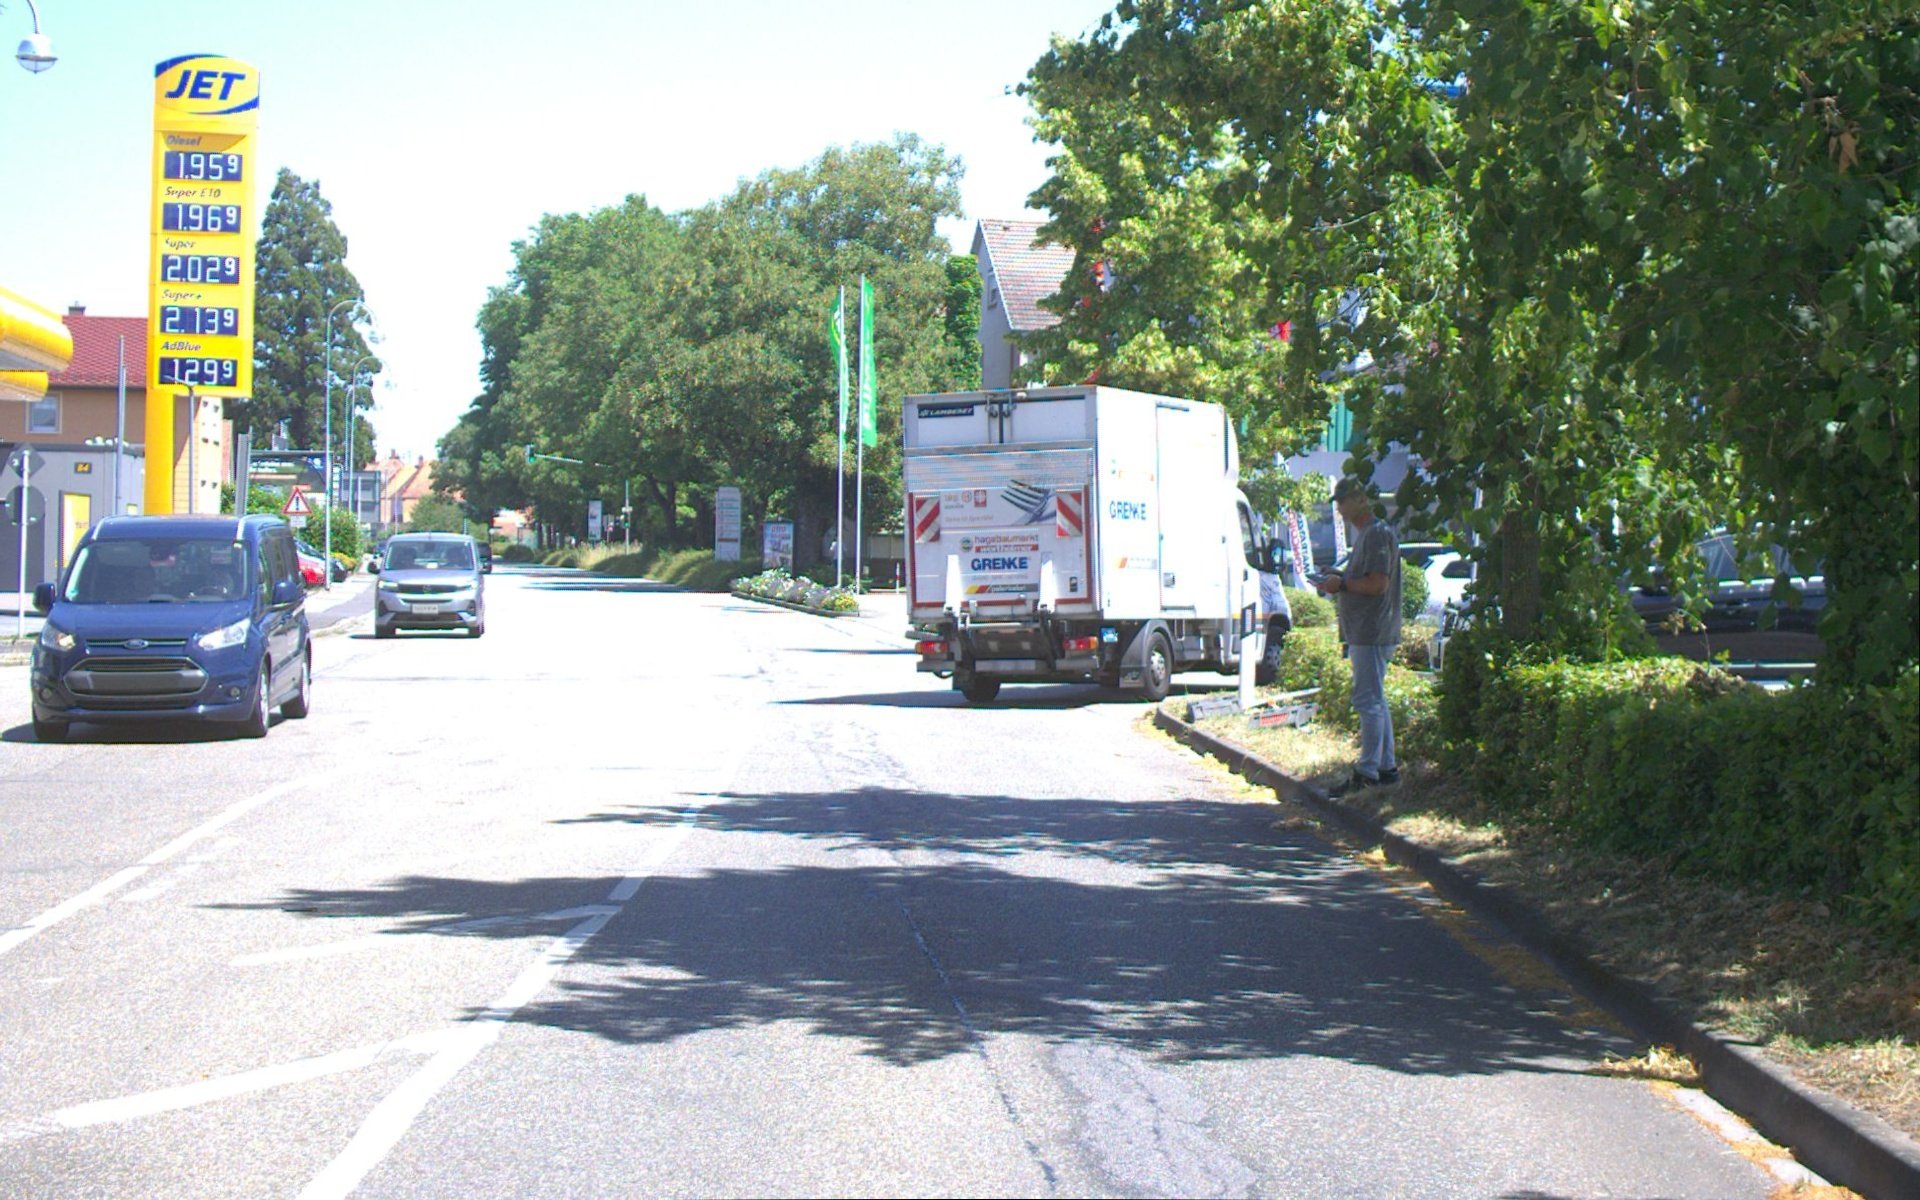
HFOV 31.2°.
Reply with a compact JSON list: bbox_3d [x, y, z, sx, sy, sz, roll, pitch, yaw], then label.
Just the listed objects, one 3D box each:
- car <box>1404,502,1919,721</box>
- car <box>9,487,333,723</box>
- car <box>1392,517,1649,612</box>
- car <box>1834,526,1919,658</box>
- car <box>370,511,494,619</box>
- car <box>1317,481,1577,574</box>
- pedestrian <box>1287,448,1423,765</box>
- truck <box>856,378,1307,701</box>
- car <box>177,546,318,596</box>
[{"bbox_3d":[6.067,0.081,28.465,4.514,1.662,1.894,1,1,1],"label":"car"},{"bbox_3d":[-6.442,-0.012,28.574,1.823,1.775,4.783,-1,1,-3],"label":"car"},{"bbox_3d":[8.951,-0.570,55.164,3.988,1.455,1.805,1,0,8],"label":"car"},{"bbox_3d":[14.367,-0.115,50.016,1.705,1.884,4.258,1,1,-7],"label":"car"},{"bbox_3d":[-9.041,-0.636,59.164,1.795,1.766,4.365,0,1,-5],"label":"car"},{"bbox_3d":[8.927,-1.322,62.889,4.583,1.636,1.999,1,0,11],"label":"car"},{"bbox_3d":[2.266,0.035,19.768,0.729,1.783,0.620,1,0,5],"label":"pedestrian"},{"bbox_3d":[1.362,-0.629,34.451,2.418,2.938,5.946,1,2,24],"label":"truck"},{"bbox_3d":[-21.880,-0.888,105.664,4.124,1.439,1.827,1,1,-9],"label":"car"}]
